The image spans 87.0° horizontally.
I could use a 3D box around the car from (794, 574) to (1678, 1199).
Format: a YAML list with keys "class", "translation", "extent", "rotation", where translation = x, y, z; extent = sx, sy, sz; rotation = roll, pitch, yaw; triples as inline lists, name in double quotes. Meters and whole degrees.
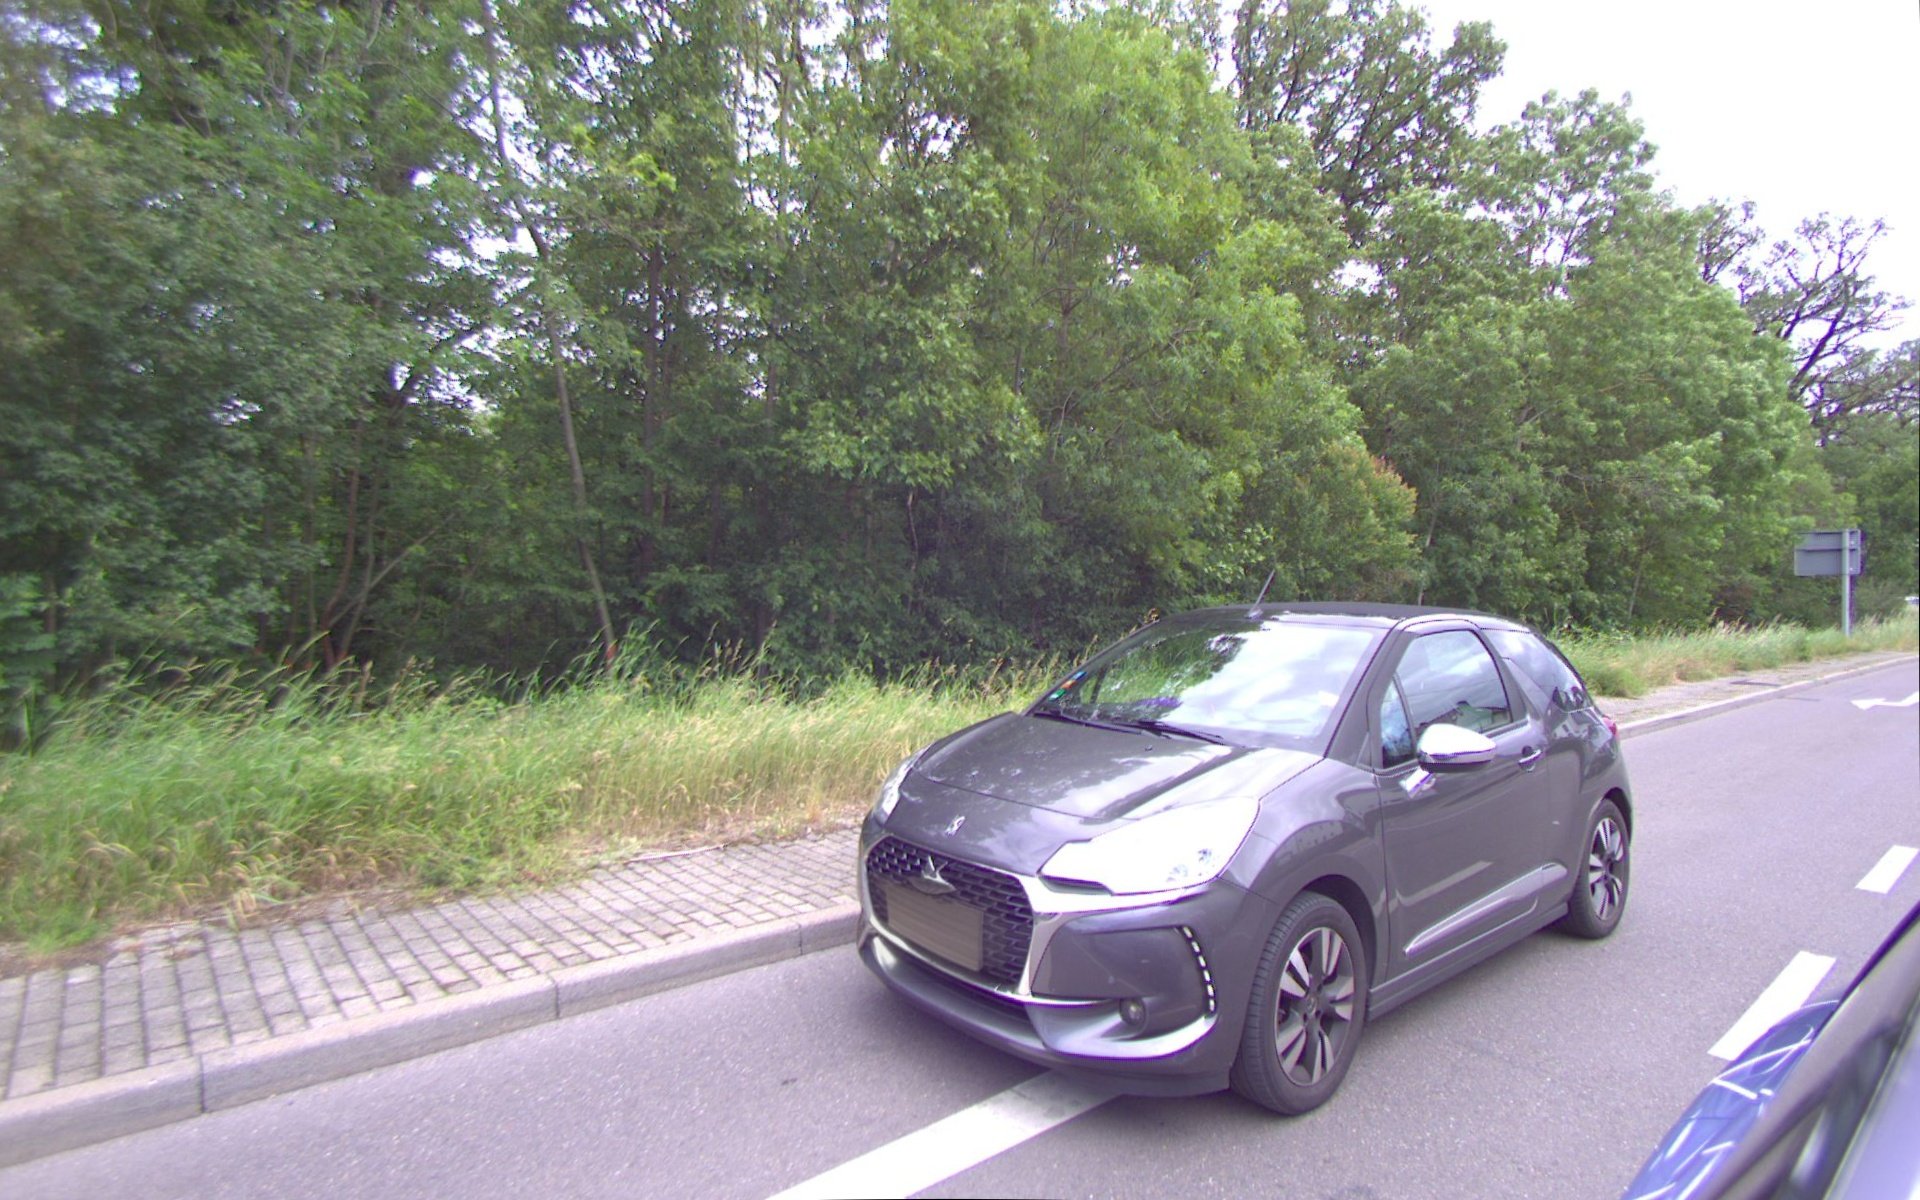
- class: "car"
  translation: [1.390, 0.663, 4.242]
  extent: [3.786, 1.476, 1.729]
  rotation: [0, 0, -40]

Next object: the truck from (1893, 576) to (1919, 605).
- class: "truck"
  translation: [123.702, -1.213, 131.634]
  extent: [2.995, 3.685, 6.985]
  rotation: [1, 1, 40]
